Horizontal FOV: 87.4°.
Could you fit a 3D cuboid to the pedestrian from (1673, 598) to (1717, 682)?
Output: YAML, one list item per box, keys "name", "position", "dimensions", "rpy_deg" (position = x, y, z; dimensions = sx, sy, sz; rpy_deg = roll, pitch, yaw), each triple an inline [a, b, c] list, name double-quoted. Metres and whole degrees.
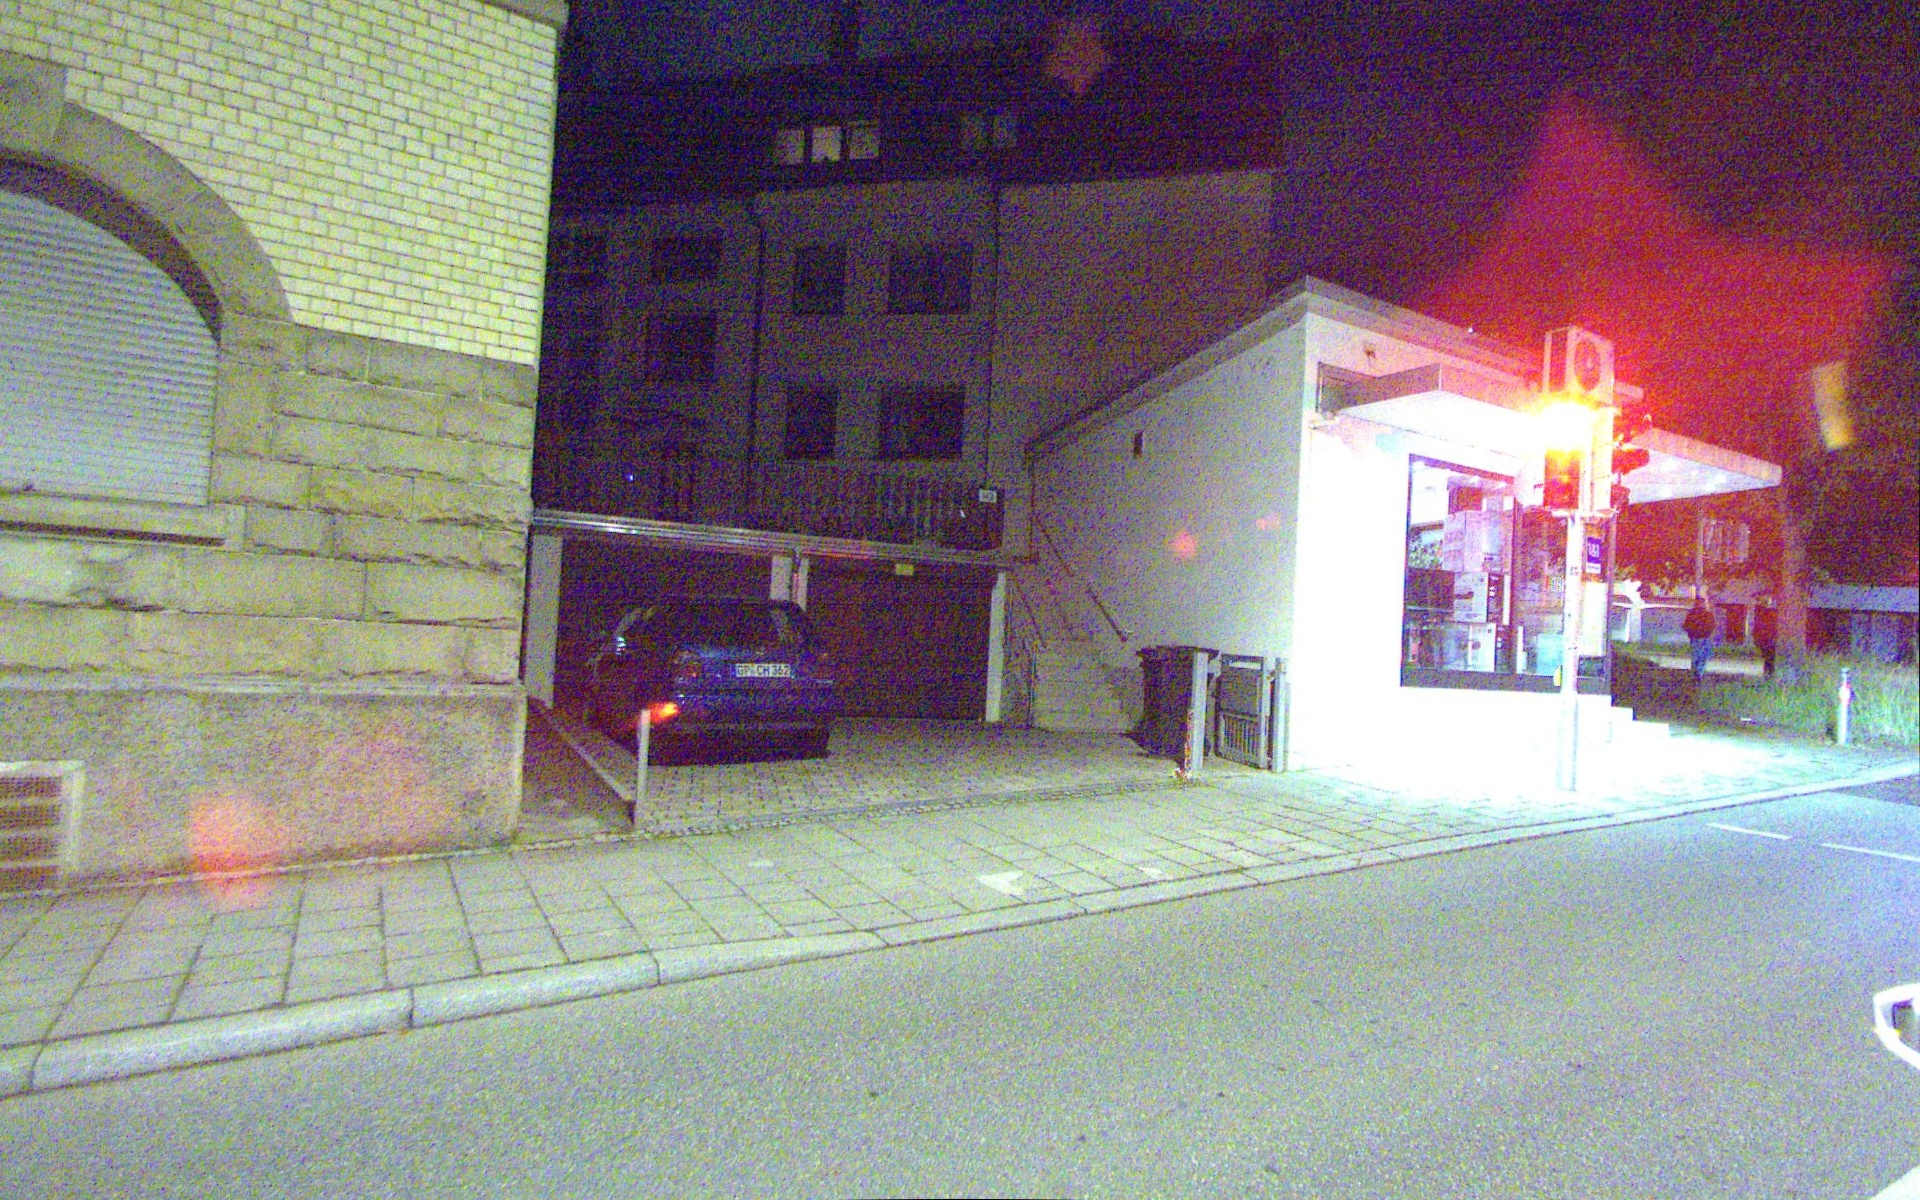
- name: "pedestrian"
  position: [15.672, 0.844, 21.420]
  dimensions: [0.537, 1.754, 0.567]
  rpy_deg: [2, 0, -30]

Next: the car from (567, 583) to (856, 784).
- name: "car"
  position: [-2.527, 0.629, 9.552]
  dimensions: [1.700, 1.460, 3.631]
  rpy_deg: [2, 1, -30]

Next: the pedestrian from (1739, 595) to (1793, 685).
- name: "pedestrian"
  position: [16.749, 0.825, 20.885]
  dimensions: [0.729, 1.801, 0.567]
  rpy_deg: [2, 2, -30]
